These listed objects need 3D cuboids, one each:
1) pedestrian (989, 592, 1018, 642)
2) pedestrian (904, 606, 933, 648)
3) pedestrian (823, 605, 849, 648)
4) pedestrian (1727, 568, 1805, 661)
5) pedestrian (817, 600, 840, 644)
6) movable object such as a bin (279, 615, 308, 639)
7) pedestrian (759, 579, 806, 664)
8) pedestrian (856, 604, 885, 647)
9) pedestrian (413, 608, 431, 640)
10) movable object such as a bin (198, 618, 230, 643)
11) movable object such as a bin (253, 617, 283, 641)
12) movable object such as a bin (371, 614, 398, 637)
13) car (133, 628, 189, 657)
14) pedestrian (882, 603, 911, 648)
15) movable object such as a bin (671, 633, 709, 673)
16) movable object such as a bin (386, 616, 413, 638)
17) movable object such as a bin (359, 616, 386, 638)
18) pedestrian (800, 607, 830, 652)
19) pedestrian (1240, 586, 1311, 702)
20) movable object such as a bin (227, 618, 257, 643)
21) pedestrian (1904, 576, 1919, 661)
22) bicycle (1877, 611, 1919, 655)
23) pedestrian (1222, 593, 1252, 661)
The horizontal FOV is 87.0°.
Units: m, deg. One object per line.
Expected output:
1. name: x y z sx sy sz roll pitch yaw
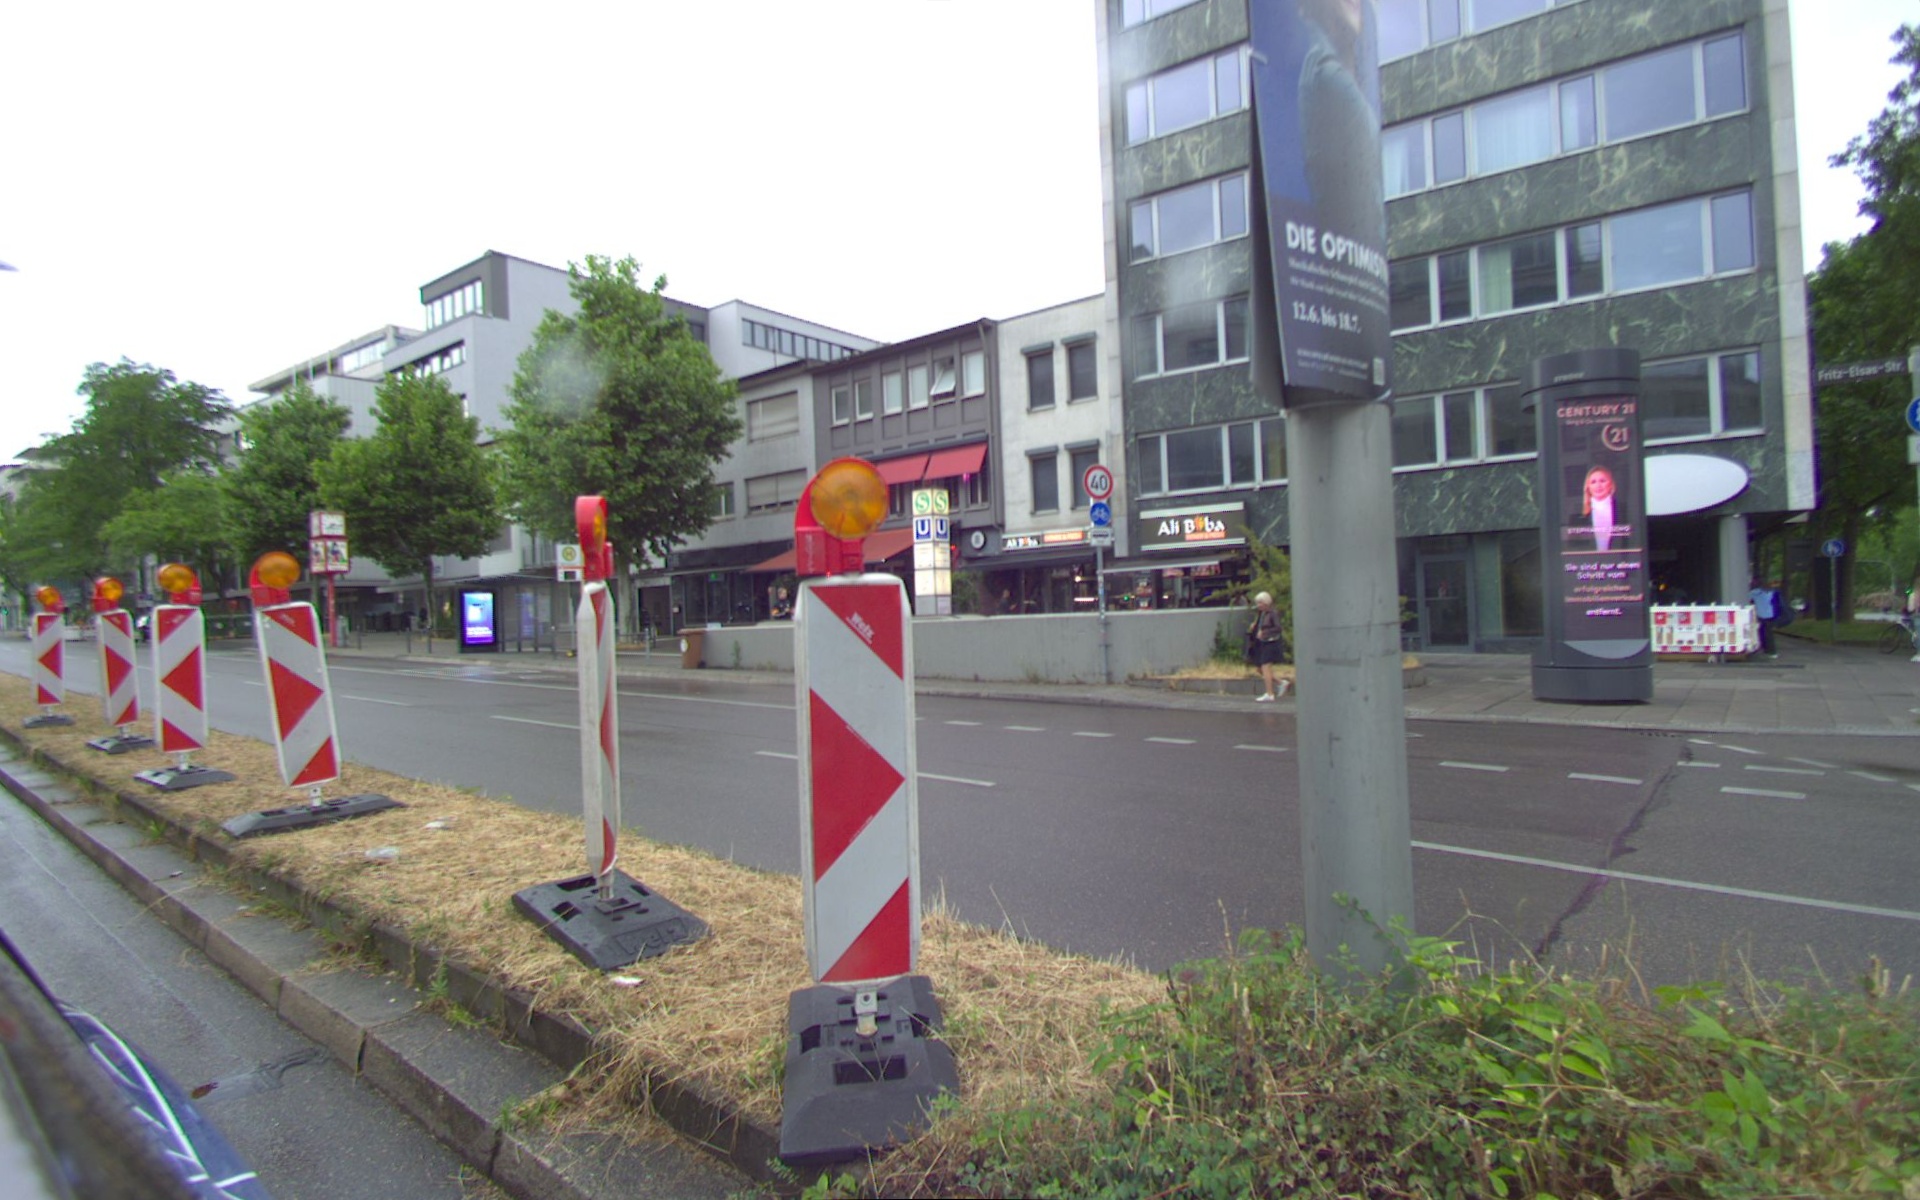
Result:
1. pedestrian: 1.297 0.494 30.140 0.587 1.461 0.597 -2 -1 36
2. pedestrian: -1.355 0.877 32.872 0.690 1.354 0.627 -2 -1 34
3. pedestrian: -4.342 0.929 35.416 0.546 1.461 0.683 -2 -1 37
4. pedestrian: 16.810 0.316 21.138 0.868 1.868 1.020 0 -4 13
5. pedestrian: -4.841 0.808 37.255 0.603 1.582 0.591 -1 -1 31
6. movable object such as a bin: -41.597 1.680 63.196 1.088 1.499 1.265 -2 -1 41
7. pedestrian: -4.063 0.478 23.165 0.757 1.899 0.683 -2 -1 37
8. pedestrian: -3.034 0.863 34.351 0.690 1.461 0.720 -2 -1 34
9. pedestrian: -29.934 1.312 56.325 0.653 1.776 0.688 -1 -1 43
10. movable object such as a bin: -44.237 1.829 60.007 1.088 1.437 1.345 -2 -1 41
11. movable object such as a bin: -42.488 1.754 62.142 1.088 1.437 1.265 -2 -1 41
12. movable object such as a bin: -37.947 1.692 66.744 1.278 1.446 1.077 -1 -1 32
13. car: -48.084 2.550 60.863 4.019 1.648 1.761 -2 -1 38
14. pedestrian: -2.100 0.839 33.324 0.690 1.461 0.627 -2 -1 34
15. movable object such as a bin: -6.275 1.226 23.541 0.680 0.904 0.527 -1 -2 32
16. movable object such as a bin: -36.643 1.754 66.151 1.278 1.446 1.077 -1 -1 32
17. movable object such as a bin: -39.233 1.775 67.600 1.278 1.446 1.077 -1 -1 32
18. pedestrian: -4.812 0.979 33.573 0.706 1.461 0.683 -2 -1 37
19. pedestrian: 4.662 0.641 14.988 0.747 1.665 0.692 -1 -1 -4
20. movable object such as a bin: -43.325 1.836 61.099 1.088 1.437 1.265 -2 -1 41
21. pedestrian: 18.714 0.356 19.327 0.922 1.597 0.822 -2 -5 41
22. bicycle: 20.861 0.698 21.625 0.468 0.941 1.803 0 -1 -39
23. pedestrian: 7.893 0.770 28.807 0.590 1.899 0.749 -2 -1 34
